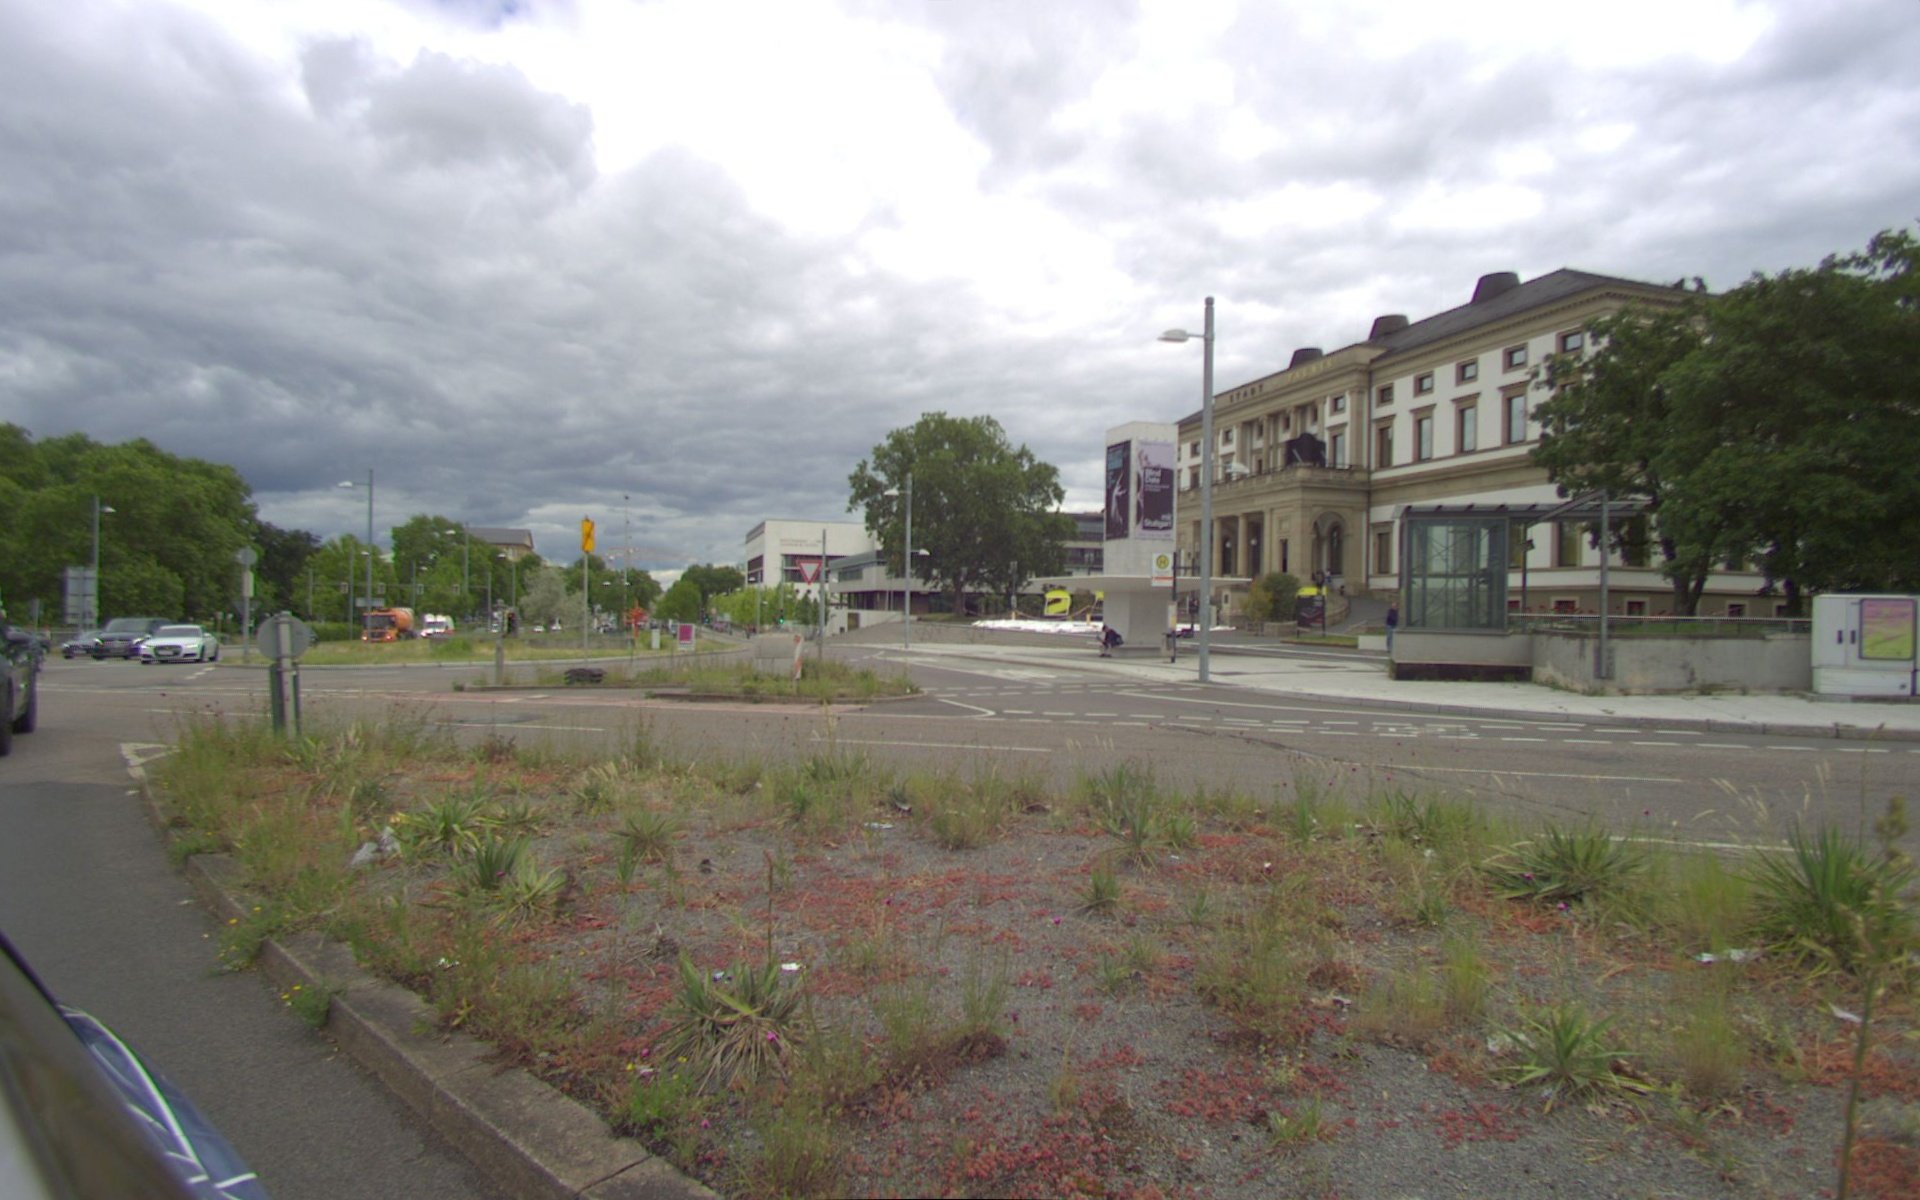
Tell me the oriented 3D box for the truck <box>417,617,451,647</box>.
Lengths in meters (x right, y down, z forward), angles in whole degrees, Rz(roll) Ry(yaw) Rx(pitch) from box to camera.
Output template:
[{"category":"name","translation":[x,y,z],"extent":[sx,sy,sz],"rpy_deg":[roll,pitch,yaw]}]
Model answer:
[{"category":"truck","translation":[-50.717,3.075,97.685],"extent":[1.923,2.805,5.806],"rpy_deg":[0,-1,-17]}]

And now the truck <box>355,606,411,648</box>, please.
[{"category":"truck","translation":[-52.467,2.446,92.255],"extent":[2.682,3.644,9.206],"rpy_deg":[0,-1,-18]}]

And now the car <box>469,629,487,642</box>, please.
[{"category":"car","translation":[-66.044,4.850,138.712],"extent":[1.753,1.859,3.810],"rpy_deg":[0,-1,-17]}]

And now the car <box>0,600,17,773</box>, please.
[{"category":"car","translation":[-11.485,0.879,10.780],"extent":[1.975,1.650,5.027],"rpy_deg":[-1,-1,-42]}]

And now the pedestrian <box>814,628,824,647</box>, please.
[{"category":"pedestrian","translation":[-13.362,3.530,95.868],"extent":[0.671,1.762,0.894],"rpy_deg":[0,-2,-22]}]

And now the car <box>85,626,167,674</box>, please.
[{"category":"car","translation":[-37.078,2.167,45.097],"extent":[1.828,2.003,4.656],"rpy_deg":[1,-2,-27]}]

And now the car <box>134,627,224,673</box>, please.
[{"category":"car","translation":[-29.805,1.870,38.769],"extent":[2.061,1.621,4.425],"rpy_deg":[1,-2,-29]}]

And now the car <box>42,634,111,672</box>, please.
[{"category":"car","translation":[-42.672,2.517,48.962],"extent":[1.966,1.690,4.011],"rpy_deg":[0,-1,-34]}]

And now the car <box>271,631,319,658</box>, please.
[{"category":"car","translation":[-45.445,2.989,69.238],"extent":[1.829,1.752,3.751],"rpy_deg":[0,-1,-19]}]

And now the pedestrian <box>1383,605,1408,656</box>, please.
[{"category":"pedestrian","translation":[15.725,1.103,36.522],"extent":[0.595,1.827,0.596],"rpy_deg":[-1,-2,-2]}]

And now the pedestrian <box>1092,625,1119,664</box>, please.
[{"category":"pedestrian","translation":[5.190,1.584,36.121],"extent":[0.694,1.363,0.762],"rpy_deg":[0,-1,-11]}]
